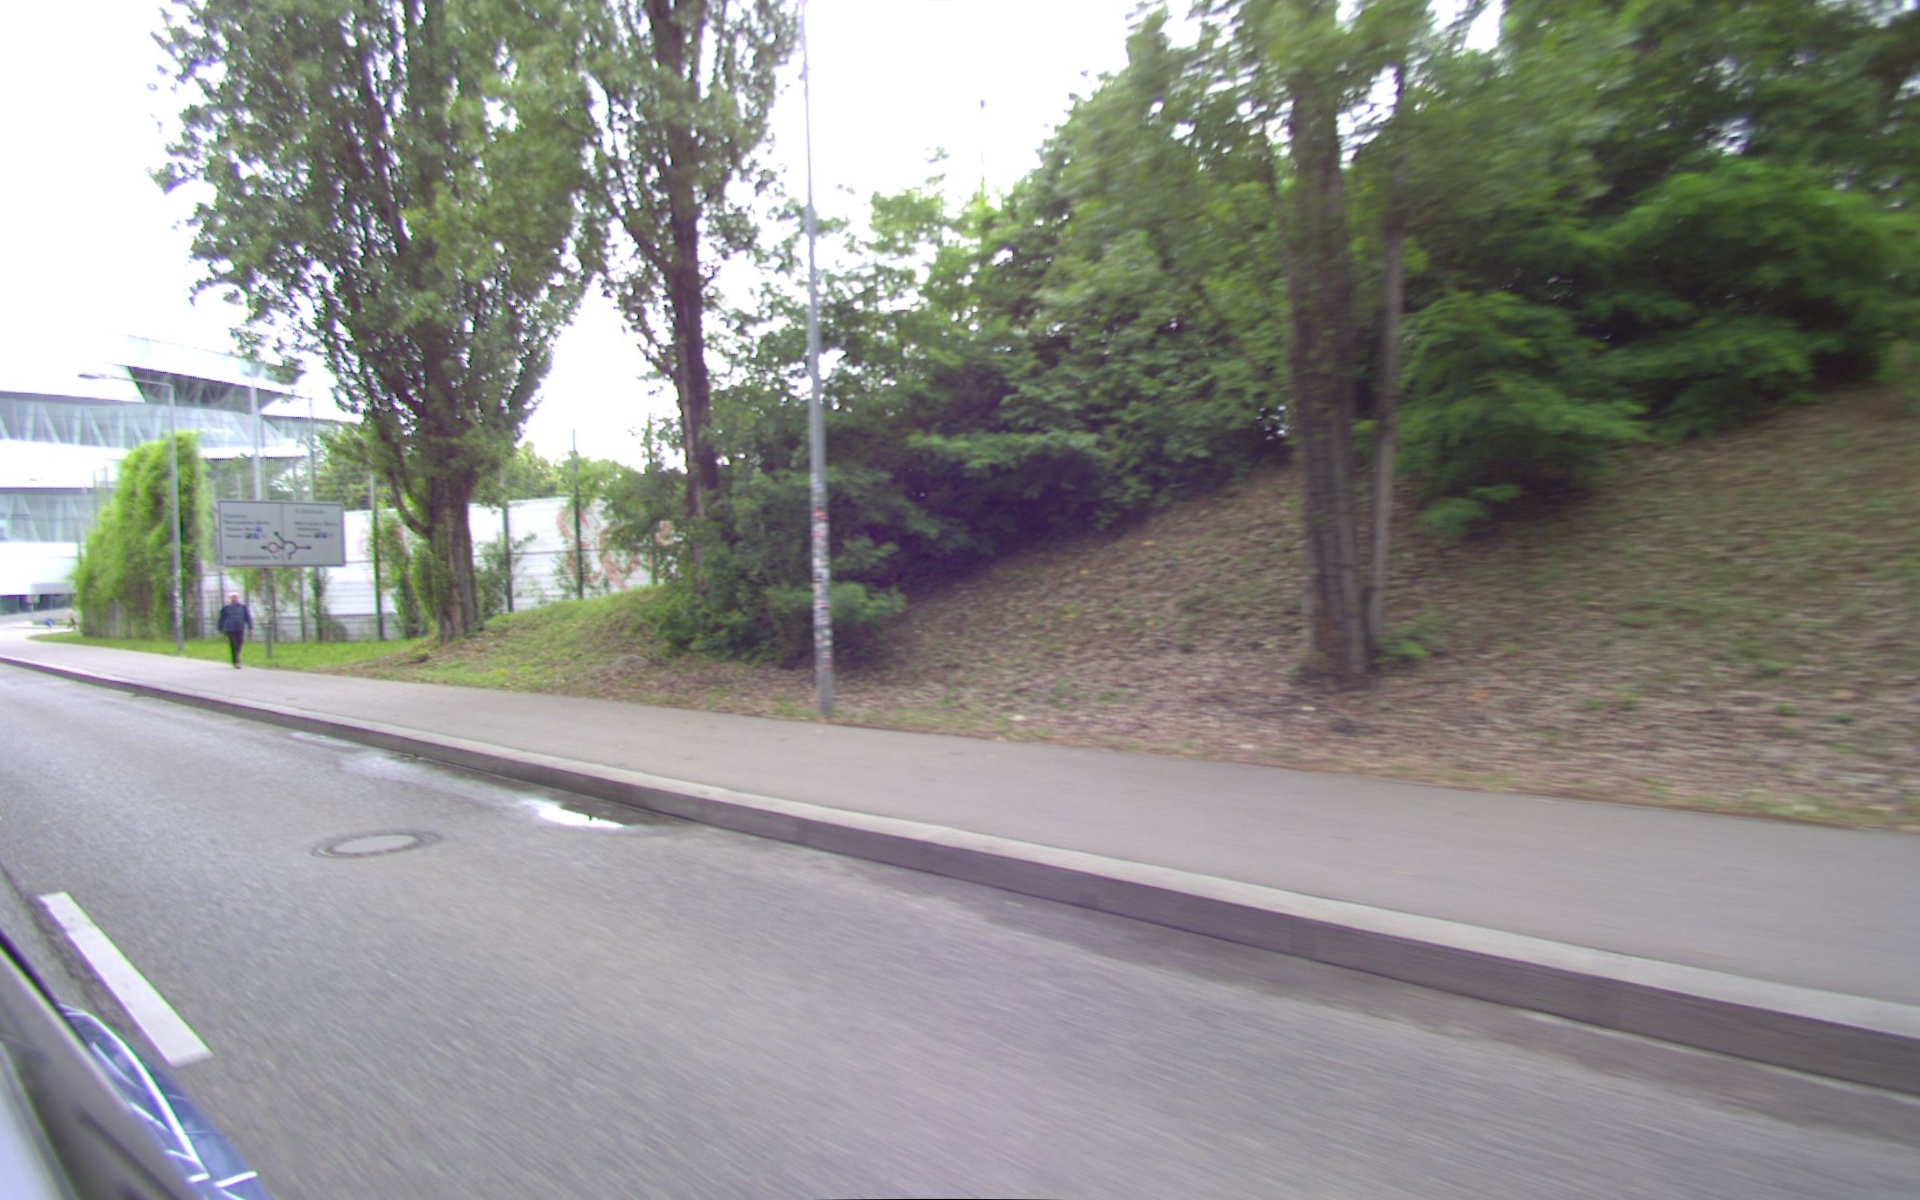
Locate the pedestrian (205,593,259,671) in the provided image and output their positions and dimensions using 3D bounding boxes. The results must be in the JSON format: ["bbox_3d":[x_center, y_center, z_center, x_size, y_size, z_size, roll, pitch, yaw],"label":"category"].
[{"bbox_3d":[-17.427,0.764,24.236,0.919,1.794,0.796,-3,-1,39],"label":"pedestrian"}]

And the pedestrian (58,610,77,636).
[{"bbox_3d":[-70.841,1.841,80.347,1.024,2.029,0.785,-2,-1,-45],"label":"pedestrian"}]
